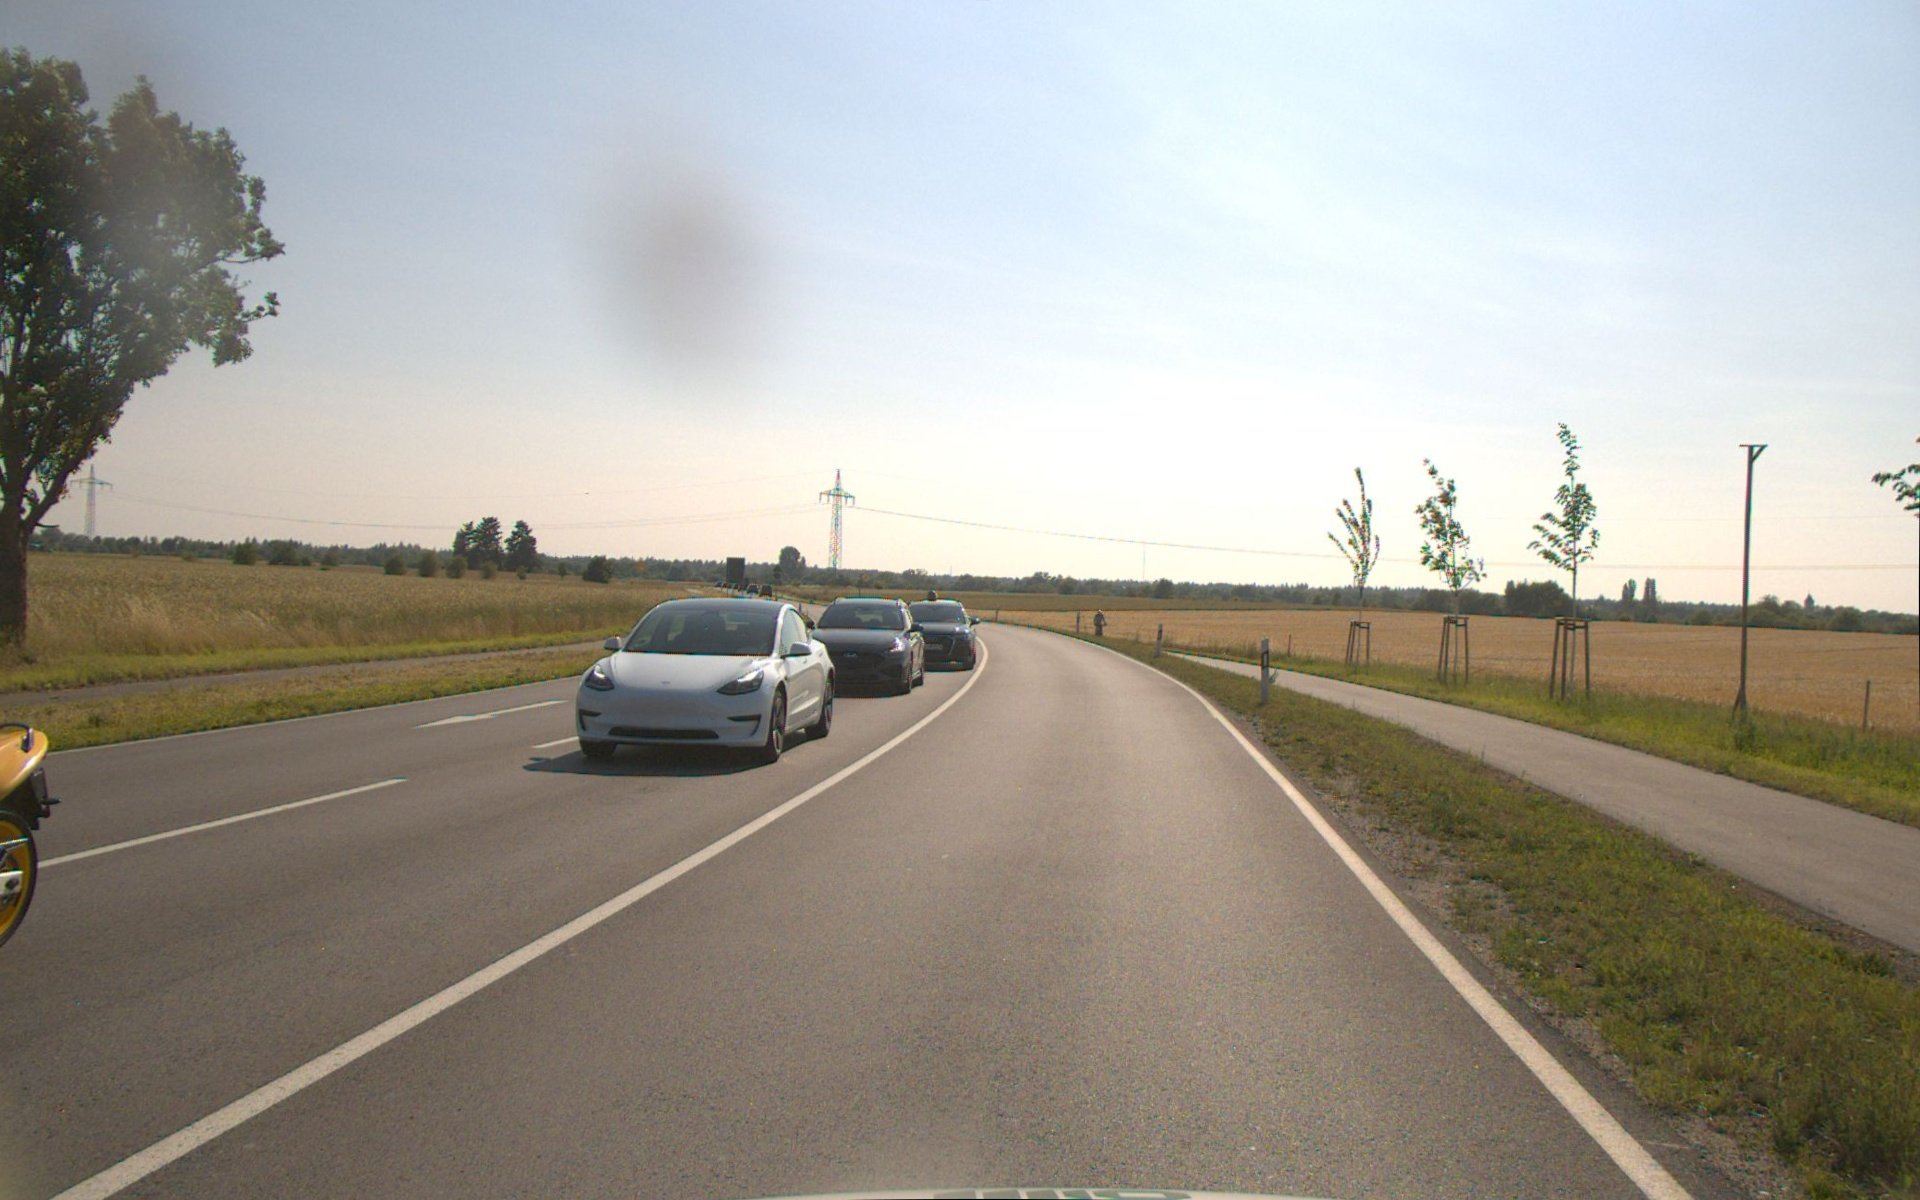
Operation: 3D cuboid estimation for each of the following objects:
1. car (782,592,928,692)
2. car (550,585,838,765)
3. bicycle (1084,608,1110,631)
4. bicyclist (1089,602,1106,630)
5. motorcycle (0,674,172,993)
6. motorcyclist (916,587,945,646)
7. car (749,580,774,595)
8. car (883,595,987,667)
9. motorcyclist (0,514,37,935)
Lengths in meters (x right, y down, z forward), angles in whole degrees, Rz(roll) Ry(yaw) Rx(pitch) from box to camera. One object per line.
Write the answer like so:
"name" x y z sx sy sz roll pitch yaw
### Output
"car" -1.647 0.647 27.439 1.850 1.486 4.308 2 0 4
"car" -2.439 0.639 16.282 1.850 1.492 4.278 1 0 4
"bicycle" 7.532 1.090 91.040 0.830 1.161 2.201 4 0 -10
"bicyclist" 7.549 0.890 90.817 0.626 1.482 0.815 4 -1 -10
"motorcycle" -3.842 0.851 5.728 0.878 1.062 2.430 1 0 5
"motorcyclist" -0.769 0.421 43.269 0.663 1.521 0.847 1 0 3
"car" -30.357 -1.956 252.577 1.823 1.865 4.417 5 0 -34
"car" -0.489 0.662 37.340 1.850 1.461 4.799 2 0 5
"motorcyclist" -3.882 0.452 5.669 0.664 1.542 1.182 1 0 6
